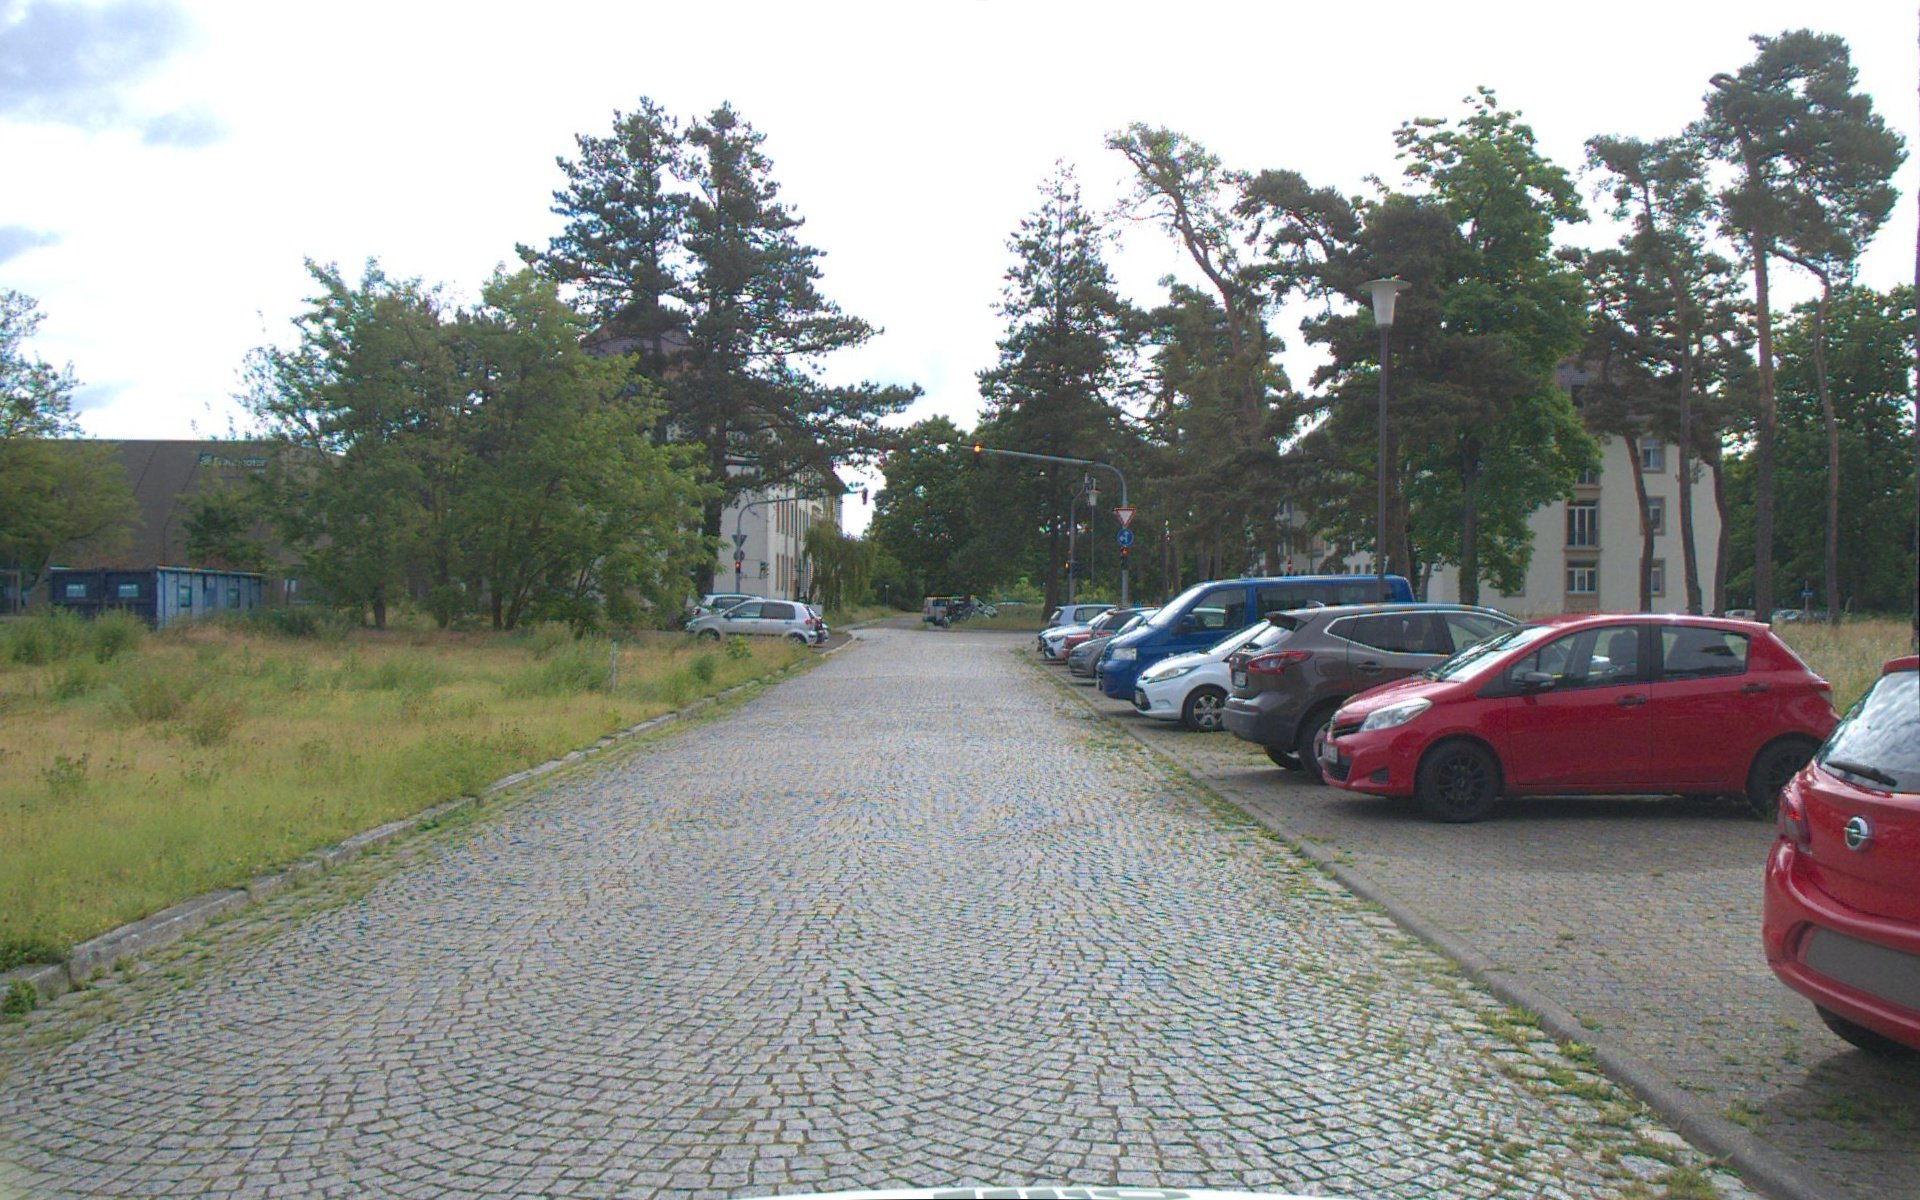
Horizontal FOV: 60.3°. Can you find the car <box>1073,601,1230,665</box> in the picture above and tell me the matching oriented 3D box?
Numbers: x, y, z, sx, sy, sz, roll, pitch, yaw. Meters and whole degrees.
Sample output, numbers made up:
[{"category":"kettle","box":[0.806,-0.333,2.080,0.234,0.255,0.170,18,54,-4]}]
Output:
[{"category":"car","box":[4.656,0.802,40.498,3.598,1.475,1.523,-1,0,-3]}]

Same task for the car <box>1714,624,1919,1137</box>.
[{"category":"car","box":[4.679,0.807,5.253,3.748,1.486,1.779,-1,0,-1]}]

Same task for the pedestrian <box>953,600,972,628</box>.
[{"category":"pedestrian","box":[0.133,0.842,97.462,1.013,1.642,0.756,1,0,-5]}]

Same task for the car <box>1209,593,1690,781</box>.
[{"category":"car","box":[4.474,0.770,15.490,3.948,1.580,1.750,-1,0,-3]}]

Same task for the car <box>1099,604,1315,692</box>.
[{"category":"car","box":[4.395,0.842,29.736,3.598,1.475,1.523,-1,0,-3]}]

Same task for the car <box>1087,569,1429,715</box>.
[{"category":"car","box":[4.320,0.599,24.459,4.659,1.989,1.930,-1,-1,-3]}]

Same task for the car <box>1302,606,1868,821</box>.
[{"category":"car","box":[4.700,0.826,12.834,3.715,1.486,1.751,-1,0,-1]}]

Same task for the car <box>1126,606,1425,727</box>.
[{"category":"car","box":[4.107,0.849,21.861,3.599,1.475,1.613,-1,0,-3]}]

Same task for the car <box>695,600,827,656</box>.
[{"category":"car","box":[-5.906,0.826,49.454,3.744,1.600,1.564,-1,-1,-1]}]

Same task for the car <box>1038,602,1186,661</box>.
[{"category":"car","box":[3.904,0.801,42.740,3.600,1.446,1.522,-1,0,-5]}]

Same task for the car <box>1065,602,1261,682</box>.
[{"category":"car","box":[3.950,0.812,32.509,3.598,1.475,1.523,-1,0,-3]}]

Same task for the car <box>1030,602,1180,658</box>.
[{"category":"car","box":[3.957,0.813,45.596,3.890,1.446,1.618,-1,0,-5]}]

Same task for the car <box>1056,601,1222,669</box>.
[{"category":"car","box":[4.104,0.788,38.206,3.598,1.475,1.523,-1,0,-3]}]

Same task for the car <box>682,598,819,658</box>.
[{"category":"car","box":[-5.921,0.781,47.037,3.746,1.600,1.563,-1,-1,-4]}]

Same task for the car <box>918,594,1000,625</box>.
[{"category":"car","box":[-0.089,0.670,115.026,5.346,2.049,2.263,1,0,-10]}]

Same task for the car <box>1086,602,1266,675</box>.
[{"category":"car","box":[4.604,0.807,35.507,3.598,1.475,1.523,-1,0,-3]}]

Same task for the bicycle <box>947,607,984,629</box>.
[{"category":"bicycle","box":[0.330,1.054,97.120,2.095,1.236,0.621,1,0,-5]}]

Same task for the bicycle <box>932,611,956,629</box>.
[{"category":"bicycle","box":[-0.906,1.118,93.034,0.613,0.961,1.648,1,0,-28]}]

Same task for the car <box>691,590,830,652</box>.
[{"category":"car","box":[-6.281,0.666,52.437,4.176,1.873,1.743,-1,-1,-1]}]

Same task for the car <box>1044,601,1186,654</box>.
[{"category":"car","box":[4.487,0.804,48.254,3.890,1.446,1.618,-1,0,-5]}]
